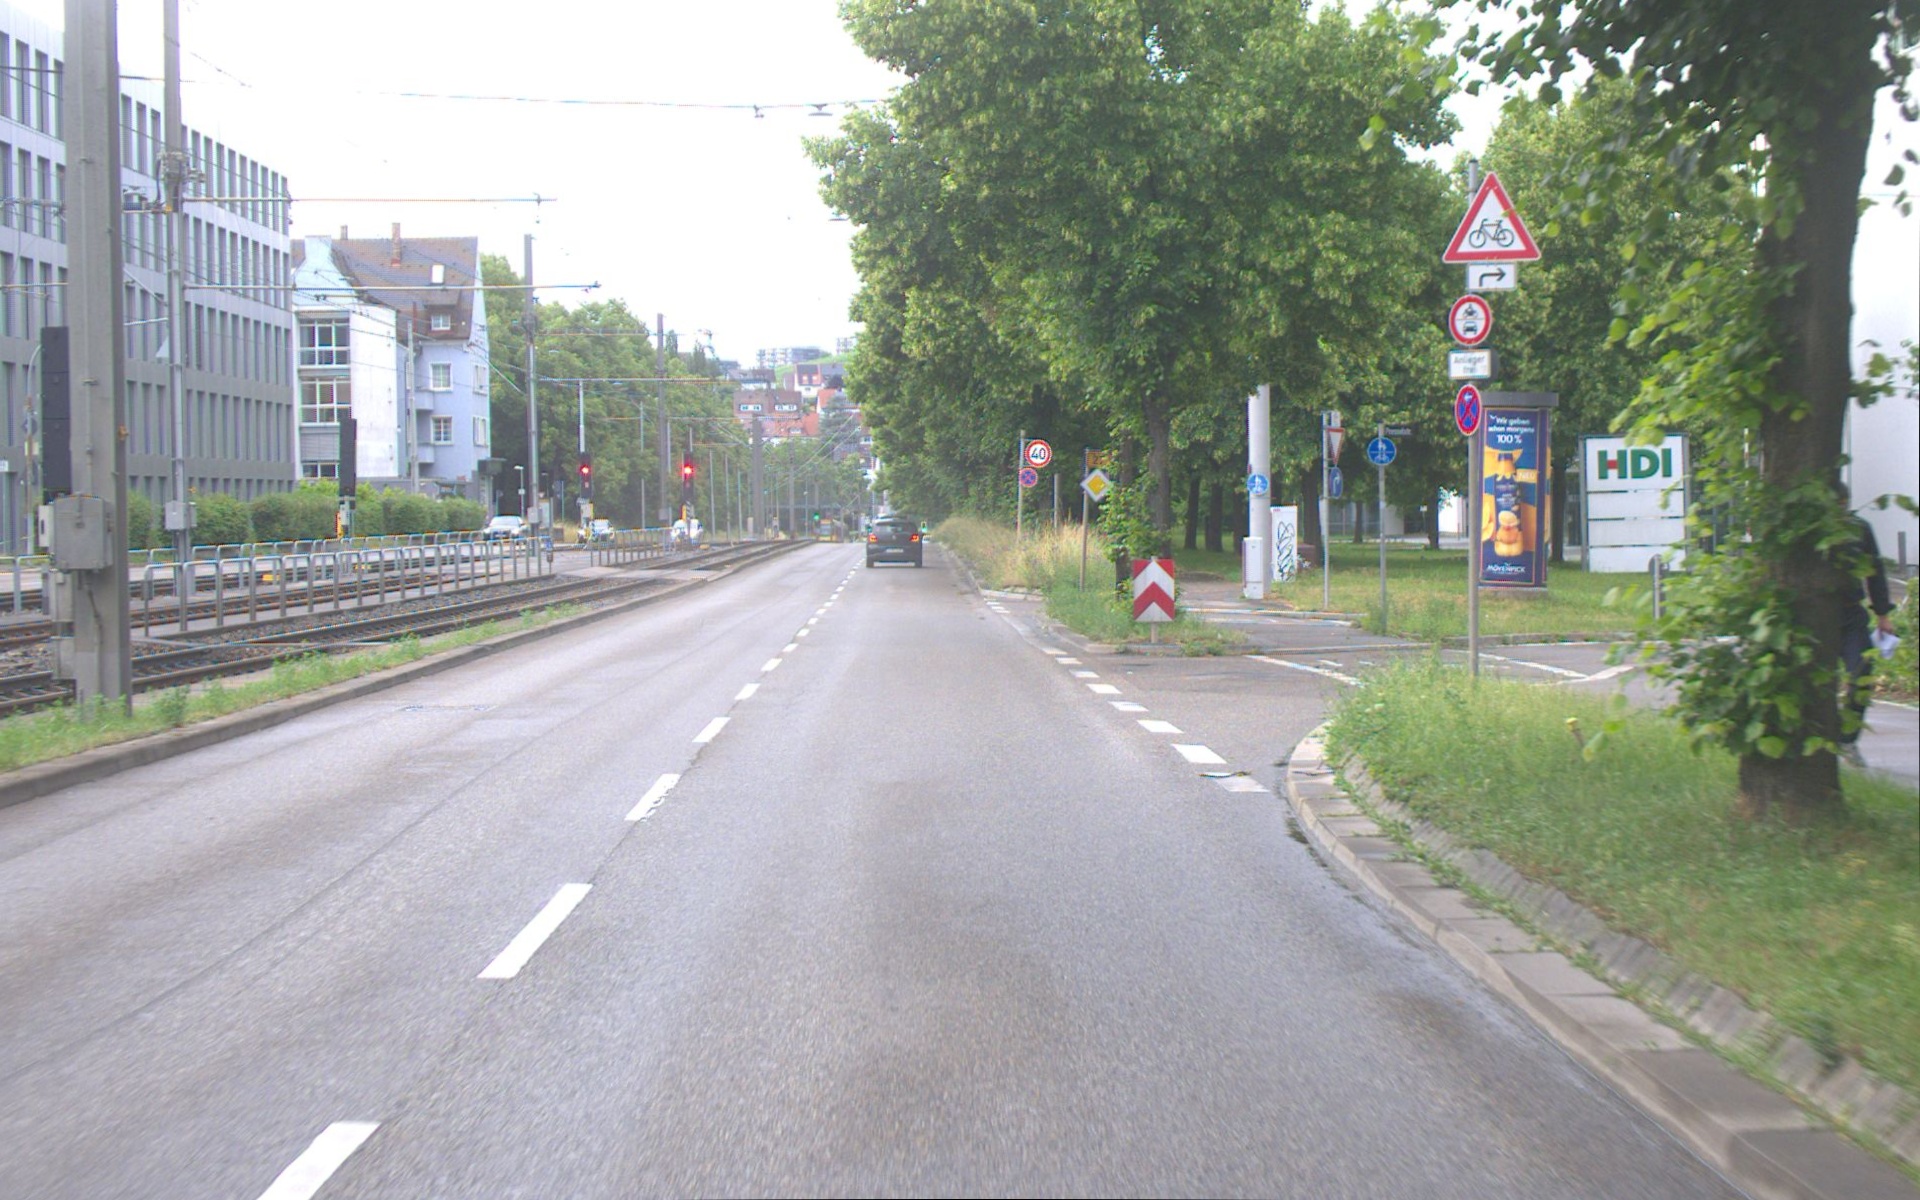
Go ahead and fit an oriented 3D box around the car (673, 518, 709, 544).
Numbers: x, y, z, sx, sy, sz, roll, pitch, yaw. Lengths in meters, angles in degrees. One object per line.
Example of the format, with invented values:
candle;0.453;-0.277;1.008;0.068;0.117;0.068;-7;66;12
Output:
car;-17.123;-4.388;218.971;1.902;1.639;4.884;-1;1;1

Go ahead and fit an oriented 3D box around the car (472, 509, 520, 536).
car;-22.001;-3.692;163.225;1.756;1.239;3.988;-1;1;-1

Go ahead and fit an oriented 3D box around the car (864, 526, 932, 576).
car;-1.832;-1.472;102.479;1.982;1.435;4.474;-1;1;-1

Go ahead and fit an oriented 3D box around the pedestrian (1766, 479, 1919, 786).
pedestrian;5.354;0.185;20.589;0.826;1.791;0.868;1;1;0
